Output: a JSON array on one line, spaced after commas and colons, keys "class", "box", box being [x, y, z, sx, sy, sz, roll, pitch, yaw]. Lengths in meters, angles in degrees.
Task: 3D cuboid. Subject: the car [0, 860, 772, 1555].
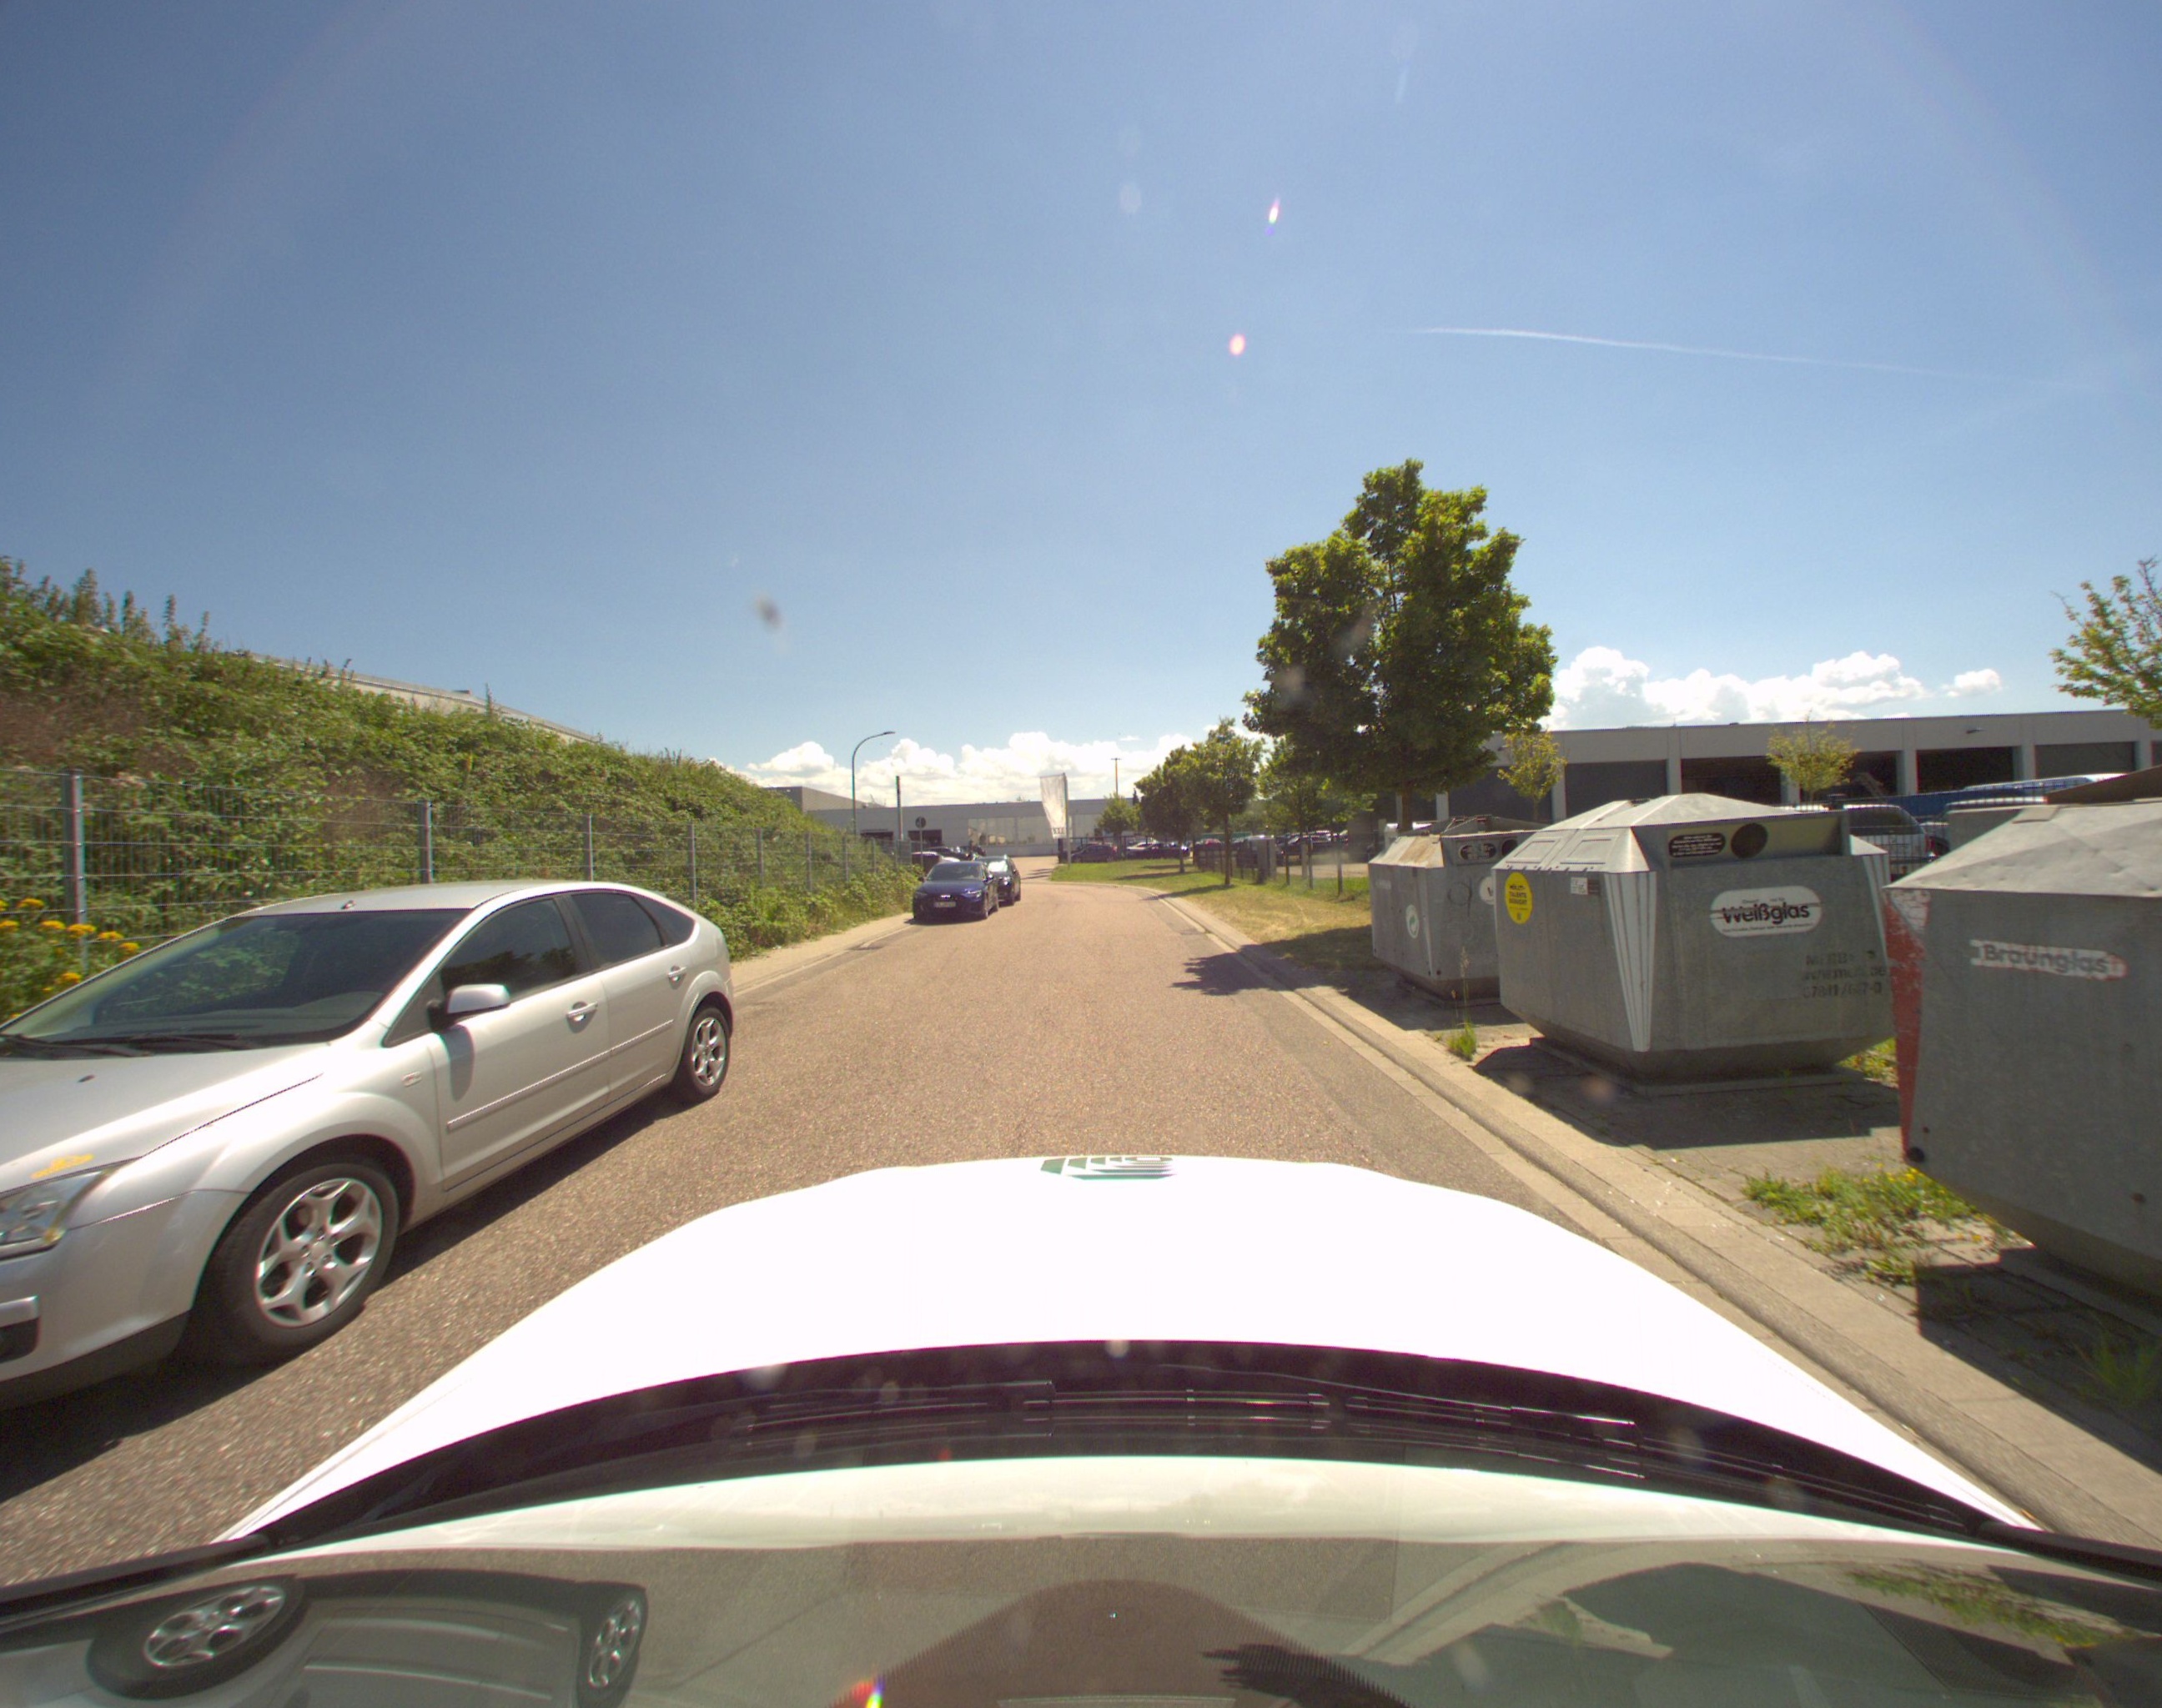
[{"class": "car", "box": [-3.358, 0.870, 4.014, 1.827, 1.546, 4.368, -3, 0, 2]}]

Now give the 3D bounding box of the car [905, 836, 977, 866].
[{"class": "car", "box": [-11.133, -0.248, 65.215, 5.300, 2.097, 2.000, -3, 0, 0]}]

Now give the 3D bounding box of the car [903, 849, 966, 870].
[{"class": "car", "box": [-11.229, 0.423, 62.518, 4.425, 1.398, 1.999, -3, -2, -1]}]

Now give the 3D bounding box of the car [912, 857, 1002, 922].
[{"class": "car", "box": [-3.126, 0.850, 21.254, 1.651, 1.417, 4.144, -3, 0, 0]}]

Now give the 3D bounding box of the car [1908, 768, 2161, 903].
[{"class": "car", "box": [12.286, -0.219, 9.102, 1.784, 1.433, 4.140, -3, -2, -1]}]

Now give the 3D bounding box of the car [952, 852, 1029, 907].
[{"class": "car", "box": [-2.845, 0.746, 26.393, 1.827, 1.546, 4.266, -3, 0, 2]}]

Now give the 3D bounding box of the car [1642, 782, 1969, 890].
[{"class": "car", "box": [12.294, -0.340, 14.307, 1.784, 1.531, 4.421, -2, 2, -1]}]

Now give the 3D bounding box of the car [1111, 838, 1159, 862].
[{"class": "car", "box": [4.675, -0.338, 71.259, 3.975, 1.827, 1.999, -3, -2, -1]}]

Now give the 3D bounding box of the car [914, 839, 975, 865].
[{"class": "car", "box": [-11.219, -0.152, 67.283, 4.571, 1.922, 2.000, -3, 0, 0]}]

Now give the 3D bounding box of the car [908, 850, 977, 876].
[{"class": "car", "box": [-9.727, 0.671, 57.303, 4.425, 1.626, 1.999, -3, -2, -1]}]

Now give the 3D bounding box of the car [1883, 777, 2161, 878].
[{"class": "car", "box": [16.715, -0.485, 13.835, 1.784, 1.481, 4.421, -2, 2, -1]}]

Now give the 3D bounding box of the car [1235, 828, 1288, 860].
[{"class": "car", "box": [9.252, -0.524, 42.118, 1.731, 1.522, 3.893, -3, 1, -2]}]

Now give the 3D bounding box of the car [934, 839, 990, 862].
[{"class": "car", "box": [-11.142, -0.368, 76.367, 4.867, 1.922, 2.000, -3, 0, 0]}]

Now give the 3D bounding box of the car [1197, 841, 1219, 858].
[{"class": "car", "box": [14.825, -0.528, 95.024, 1.986, 1.827, 4.000, -3, -2, 1]}]

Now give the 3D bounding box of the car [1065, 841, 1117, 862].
[{"class": "car", "box": [0.758, -0.152, 63.220, 3.975, 1.398, 1.999, -3, -2, -1]}]

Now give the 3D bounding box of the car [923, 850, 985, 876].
[{"class": "car", "box": [-10.817, 0.749, 69.787, 4.867, 1.922, 2.000, -3, 0, 0]}]

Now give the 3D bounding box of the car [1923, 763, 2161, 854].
[{"class": "car", "box": [32.168, -1.393, 27.327, 1.875, 2.478, 5.501, -3, -2, -2]}]

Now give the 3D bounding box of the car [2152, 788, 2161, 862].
[{"class": "car", "box": [22.319, -0.665, 14.202, 1.784, 1.461, 4.098, -3, -2, -1]}]

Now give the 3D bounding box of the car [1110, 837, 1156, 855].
[{"class": "car", "box": [4.689, -0.690, 73.554, 3.975, 1.398, 1.999, -3, -2, -1]}]

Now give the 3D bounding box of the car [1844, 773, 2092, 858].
[{"class": "car", "box": [29.195, -1.136, 27.194, 1.875, 2.263, 5.652, -3, -2, -2]}]

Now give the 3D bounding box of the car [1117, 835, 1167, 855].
[{"class": "car", "box": [5.089, -0.741, 68.003, 3.975, 1.398, 1.999, -3, -2, -1]}]

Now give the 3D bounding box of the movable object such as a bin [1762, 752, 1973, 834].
[{"class": "movable object such as a bin", "box": [44.215, -3.268, 46.339, 3.529, 3.974, 8.665, -3, 1, 0]}]

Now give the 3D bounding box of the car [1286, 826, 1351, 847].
[{"class": "car", "box": [18.467, -1.349, 63.507, 4.425, 1.398, 1.999, -3, -2, -1]}]

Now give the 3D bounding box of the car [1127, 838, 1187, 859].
[{"class": "car", "box": [5.884, -0.412, 63.244, 4.425, 1.398, 1.999, -3, -2, -1]}]

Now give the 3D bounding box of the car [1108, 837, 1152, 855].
[{"class": "car", "box": [4.613, -0.748, 76.928, 3.975, 1.398, 1.999, -3, -2, -1]}]

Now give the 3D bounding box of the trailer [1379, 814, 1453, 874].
[{"class": "trailer", "box": [12.343, -0.431, 30.220, 1.487, 2.006, 3.267, -3, 3, 3]}]
